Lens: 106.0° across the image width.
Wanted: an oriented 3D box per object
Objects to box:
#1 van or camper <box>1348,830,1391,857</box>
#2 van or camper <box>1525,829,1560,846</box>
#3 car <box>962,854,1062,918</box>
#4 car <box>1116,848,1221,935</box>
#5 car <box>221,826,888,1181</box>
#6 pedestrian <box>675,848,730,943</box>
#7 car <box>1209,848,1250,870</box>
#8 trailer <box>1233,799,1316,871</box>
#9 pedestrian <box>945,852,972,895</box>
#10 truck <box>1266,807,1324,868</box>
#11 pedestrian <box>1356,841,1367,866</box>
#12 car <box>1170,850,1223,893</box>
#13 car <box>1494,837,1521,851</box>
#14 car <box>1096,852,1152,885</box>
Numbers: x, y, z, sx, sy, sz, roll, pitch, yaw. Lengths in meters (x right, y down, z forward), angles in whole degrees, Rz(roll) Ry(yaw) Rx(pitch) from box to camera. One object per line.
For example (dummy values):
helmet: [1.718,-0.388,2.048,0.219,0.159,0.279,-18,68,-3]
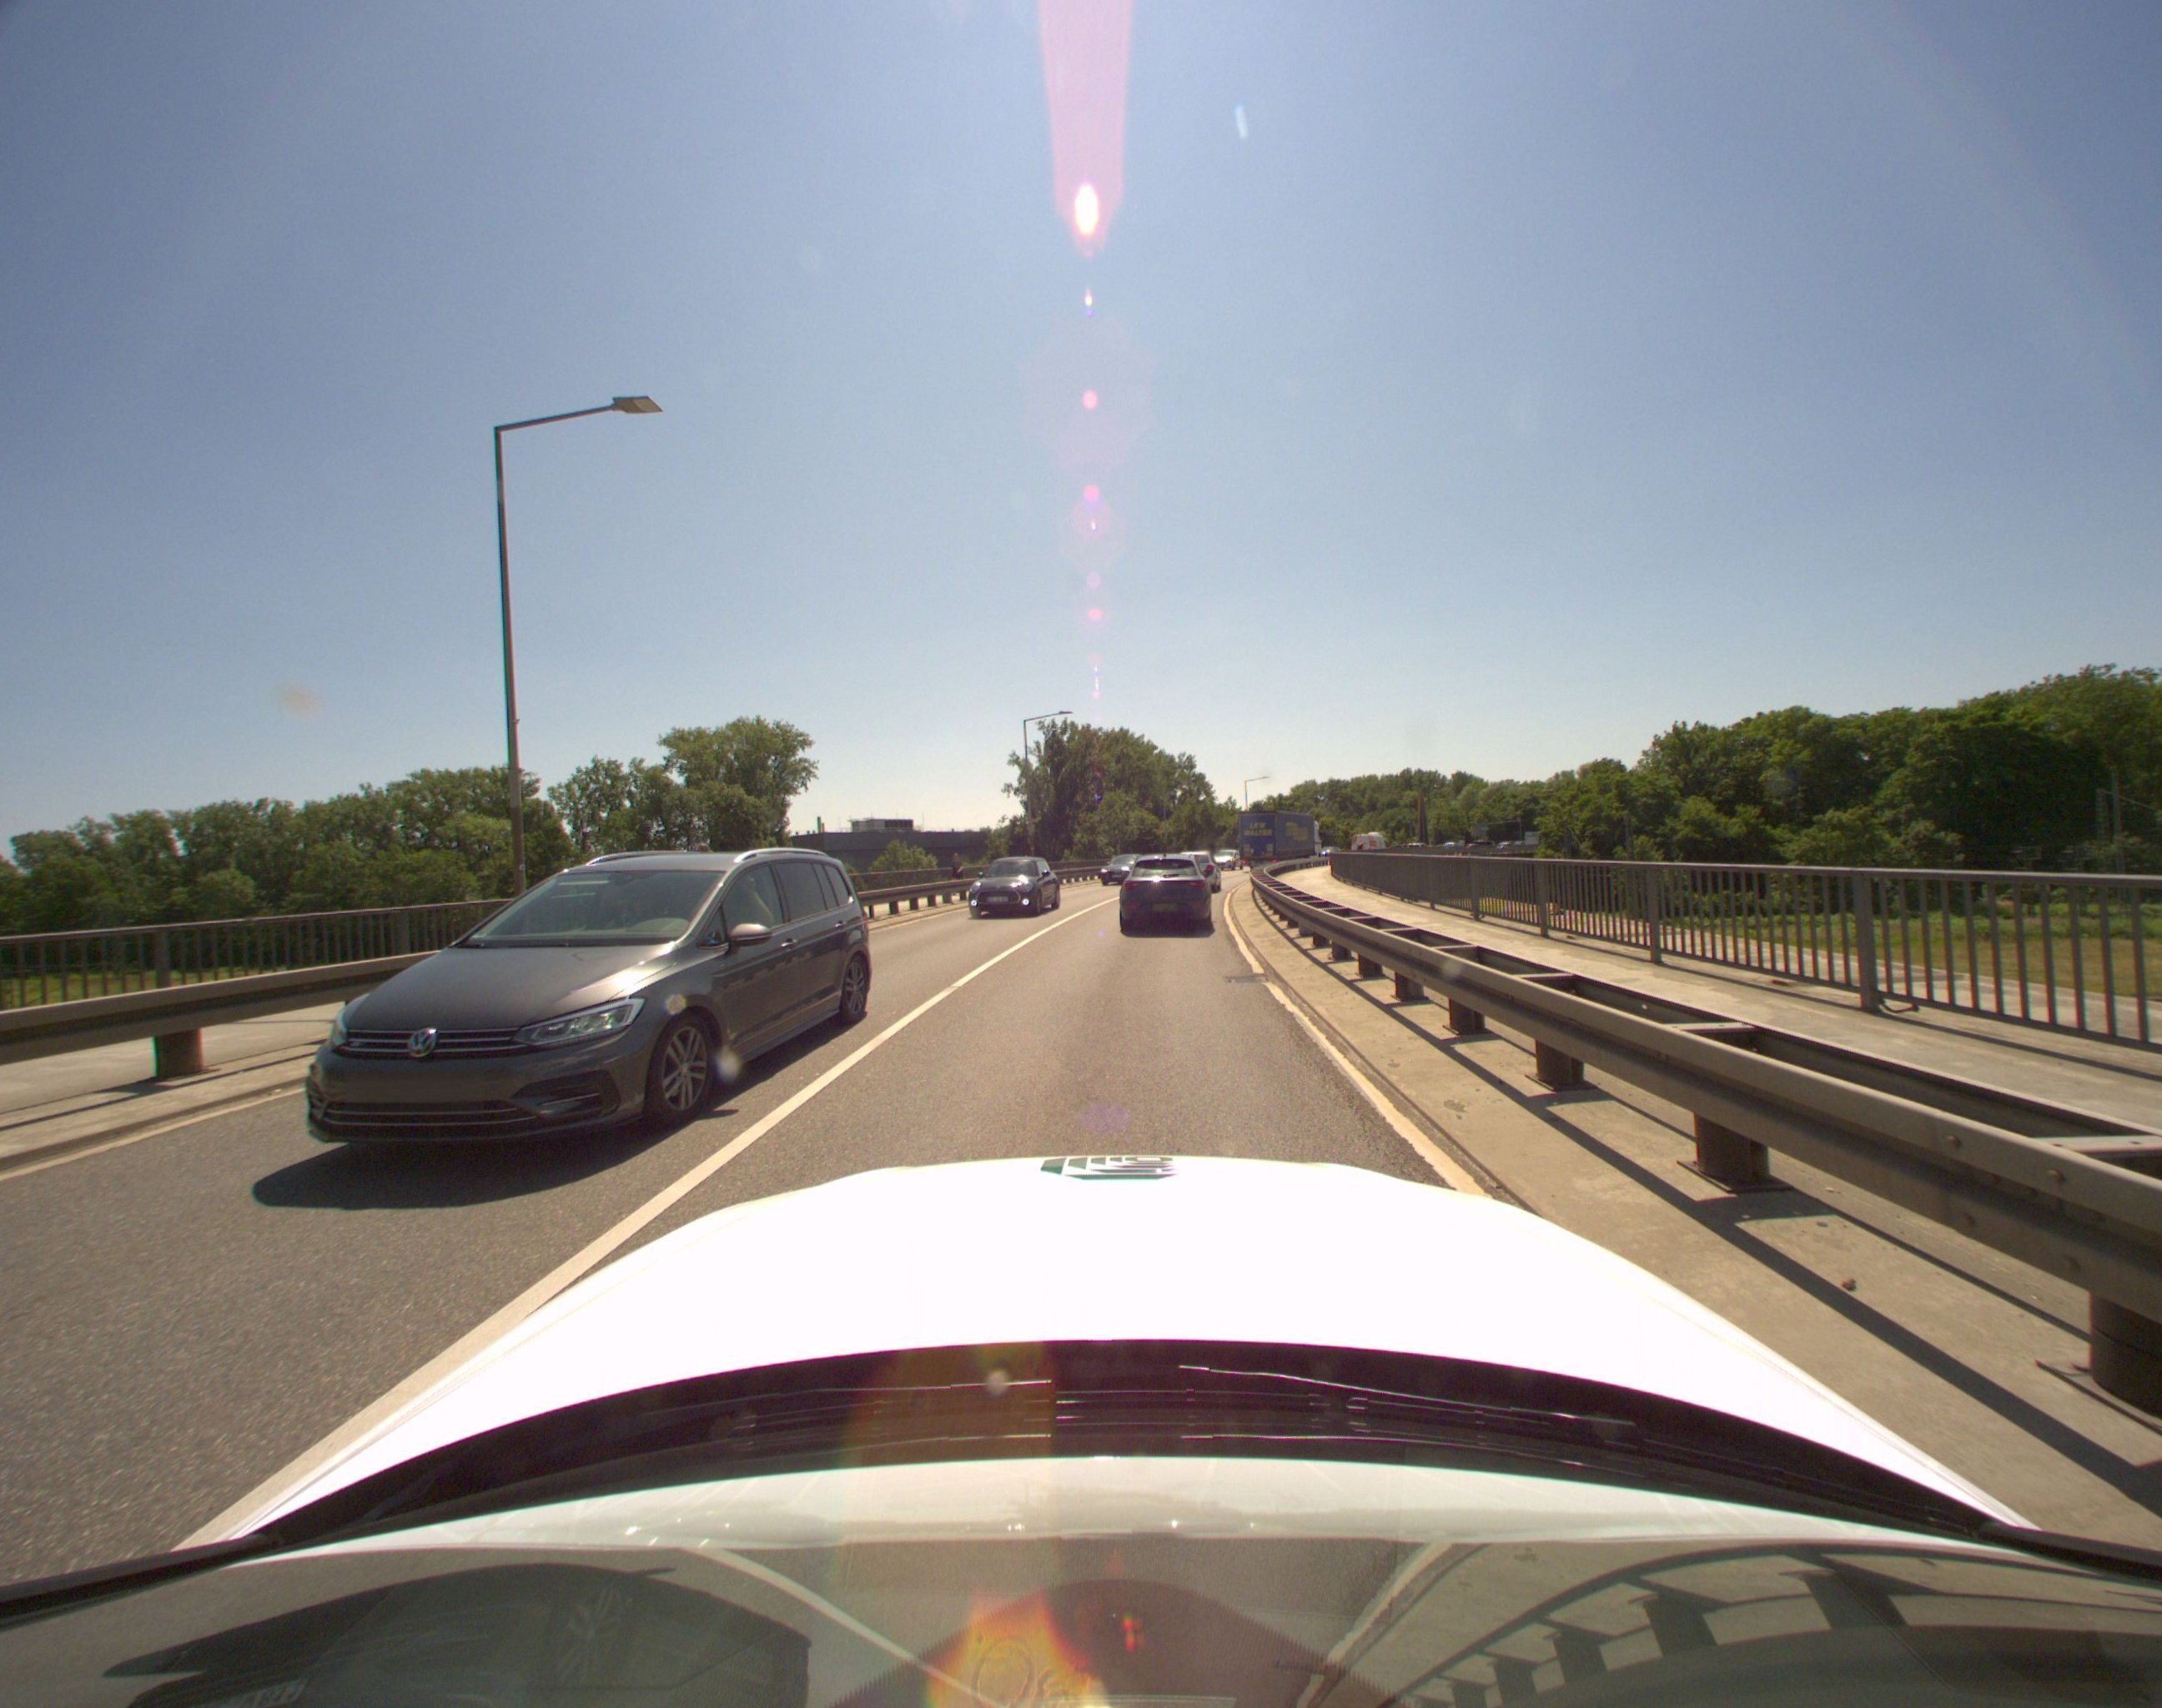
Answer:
van or camper: [29.500,-1.101,83.146,2.182,2.711,5.963,-1,1,40]
van or camper: [70.847,-2.507,125.100,4.976,2.291,2.468,3,2,-32]
car: [-1.658,0.755,20.953,1.780,1.419,3.780,-3,-1,6]
car: [1.634,0.653,16.311,1.838,1.498,3.760,-1,0,2]
car: [-3.064,0.758,6.034,1.887,1.654,4.263,-2,-1,5]
pedestrian: [-7.325,0.781,15.794,0.635,1.782,0.813,-1,-1,4]
car: [10.889,0.325,59.577,1.708,1.483,3.890,-3,-1,29]
trailer: [14.292,-1.232,59.038,3.105,4.614,13.024,0,0,26]
pedestrian: [-4.590,0.735,30.619,0.709,1.561,0.697,-3,-1,13]
truck: [17.205,-1.231,65.129,3.141,4.585,7.439,-1,-1,25]
pedestrian: [21.857,-0.027,63.464,0.730,1.967,0.739,-1,-1,28]
car: [4.279,0.606,29.826,1.582,1.461,3.557,0,0,13]
car: [59.429,-1.422,113.393,4.020,1.849,1.873,0,3,-40]
car: [2.111,0.662,38.652,1.777,1.415,4.592,-3,-1,13]
